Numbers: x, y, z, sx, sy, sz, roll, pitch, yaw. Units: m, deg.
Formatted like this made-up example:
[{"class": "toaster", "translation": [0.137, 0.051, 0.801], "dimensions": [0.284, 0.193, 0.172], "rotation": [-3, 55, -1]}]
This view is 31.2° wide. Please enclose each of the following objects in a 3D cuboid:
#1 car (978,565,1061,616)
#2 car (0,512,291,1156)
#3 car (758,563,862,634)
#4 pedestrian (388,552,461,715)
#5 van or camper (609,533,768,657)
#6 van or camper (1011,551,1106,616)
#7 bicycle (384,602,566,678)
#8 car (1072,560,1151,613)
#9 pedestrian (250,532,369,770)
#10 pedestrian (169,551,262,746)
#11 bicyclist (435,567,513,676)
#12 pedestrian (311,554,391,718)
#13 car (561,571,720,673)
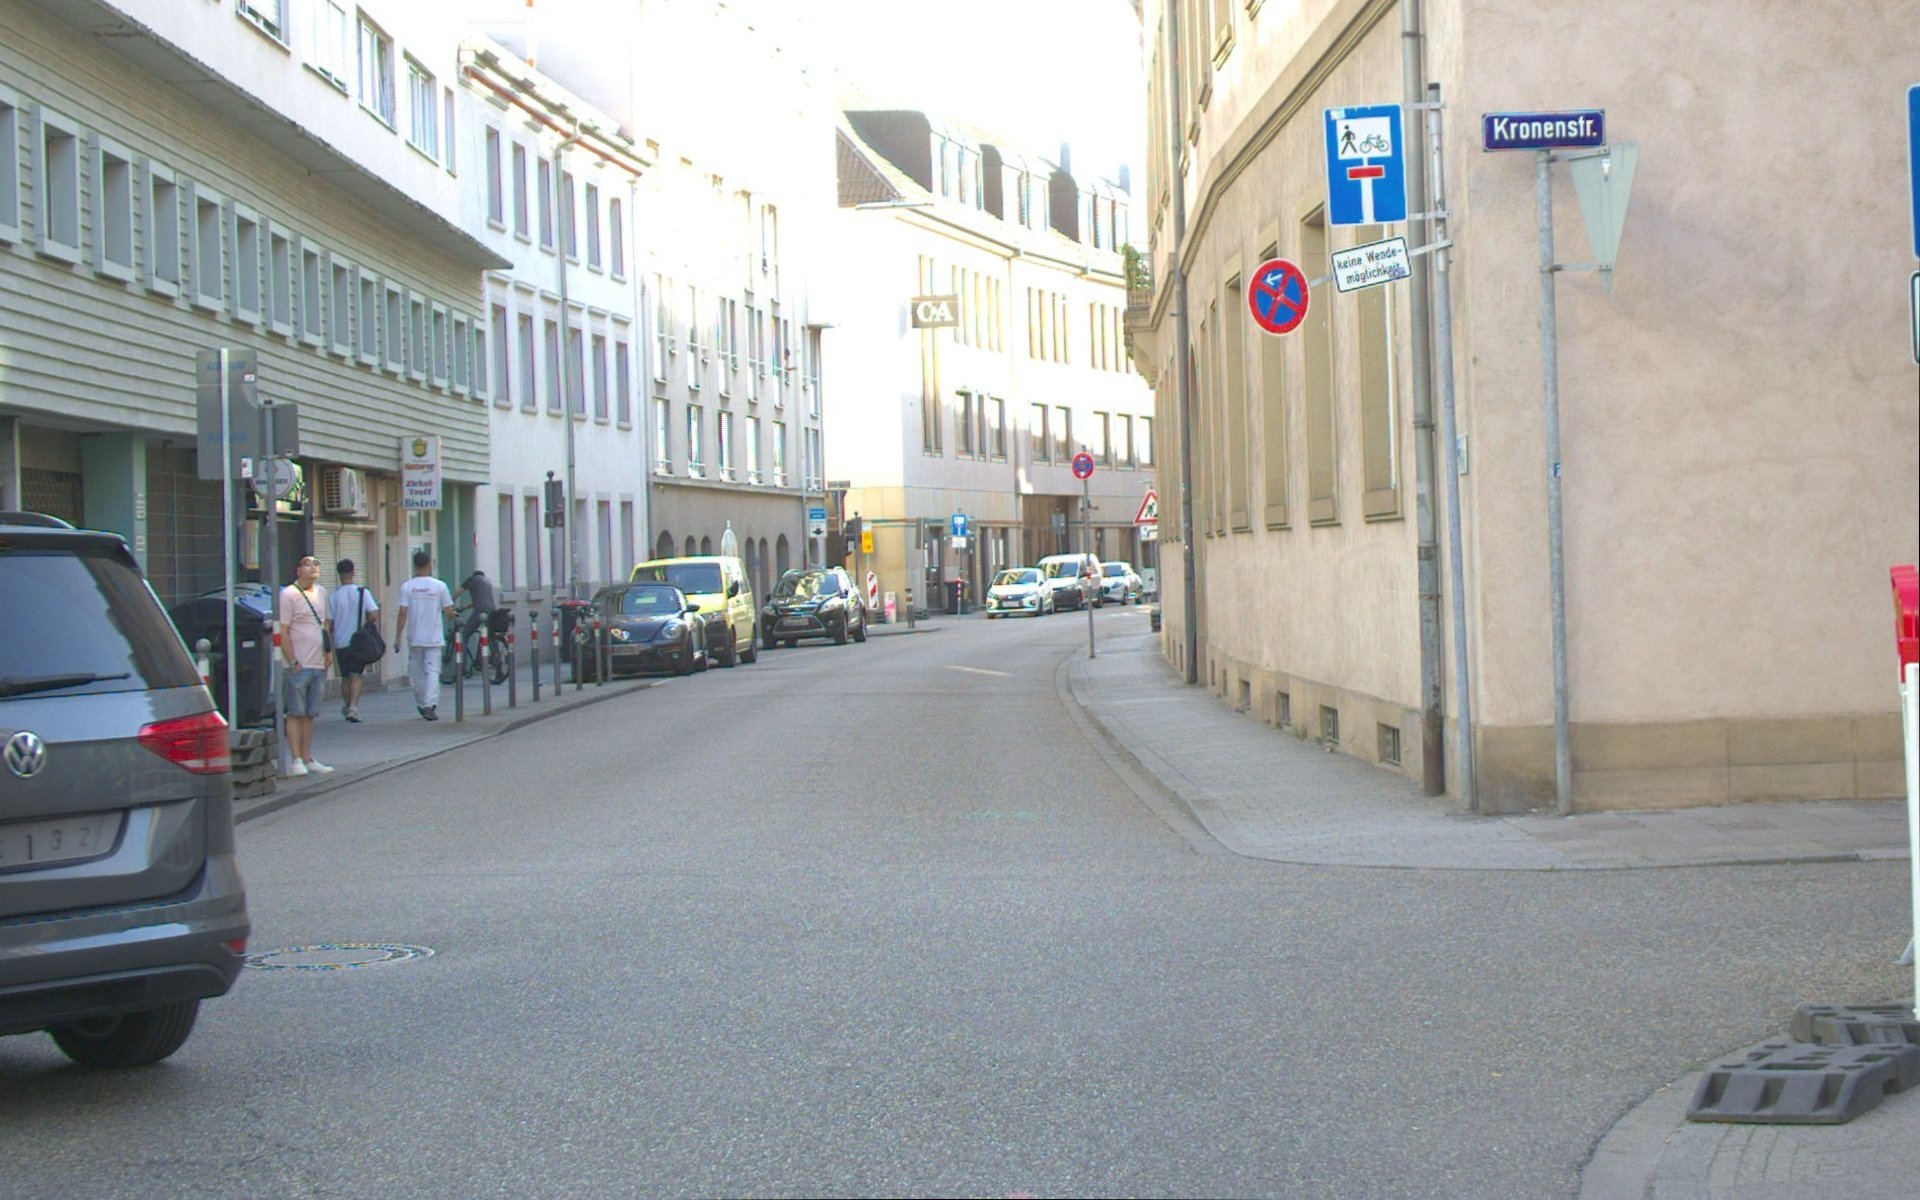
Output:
[{"class": "car", "translation": [1.853, -0.303, 105.595], "dimensions": [1.735, 1.463, 3.998], "rotation": [-1, 1, 13]}, {"class": "car", "translation": [-3.813, 0.576, 9.956], "dimensions": [1.763, 1.601, 3.997], "rotation": [-1, 1, -45]}, {"class": "car", "translation": [-3.247, -0.055, 75.237], "dimensions": [1.866, 1.463, 3.833], "rotation": [-1, 1, 3]}, {"class": "pedestrian", "translation": [-5.619, 0.347, 36.091], "dimensions": [0.662, 1.679, 0.480], "rotation": [-1, 0, -1]}, {"class": "van or camper", "translation": [-4.615, -0.108, 59.023], "dimensions": [1.994, 2.007, 4.482], "rotation": [-1, 1, 4]}, {"class": "van or camper", "translation": [3.227, -0.553, 111.354], "dimensions": [1.995, 2.007, 4.995], "rotation": [-1, 1, 14]}, {"class": "bicycle", "translation": [-7.025, 0.583, 49.764], "dimensions": [2.544, 1.050, 0.832], "rotation": [-1, 1, 24]}, {"class": "car", "translation": [5.200, -0.484, 117.683], "dimensions": [1.827, 1.720, 3.997], "rotation": [-1, 1, 16]}, {"class": "pedestrian", "translation": [-5.066, 0.387, 26.782], "dimensions": [0.556, 1.823, 0.730], "rotation": [-1, 1, 22]}, {"class": "pedestrian", "translation": [-7.117, 0.456, 32.872], "dimensions": [0.728, 1.823, 0.557], "rotation": [-1, 0, -2]}, {"class": "bicyclist", "translation": [-7.034, 0.307, 49.774], "dimensions": [0.758, 1.556, 0.832], "rotation": [-1, 1, 24]}, {"class": "pedestrian", "translation": [-6.364, 0.371, 35.961], "dimensions": [0.712, 1.679, 0.480], "rotation": [-1, 0, -1]}, {"class": "car", "translation": [-4.908, 0.316, 53.285], "dimensions": [1.866, 1.463, 3.833], "rotation": [-1, 1, 3]}]
